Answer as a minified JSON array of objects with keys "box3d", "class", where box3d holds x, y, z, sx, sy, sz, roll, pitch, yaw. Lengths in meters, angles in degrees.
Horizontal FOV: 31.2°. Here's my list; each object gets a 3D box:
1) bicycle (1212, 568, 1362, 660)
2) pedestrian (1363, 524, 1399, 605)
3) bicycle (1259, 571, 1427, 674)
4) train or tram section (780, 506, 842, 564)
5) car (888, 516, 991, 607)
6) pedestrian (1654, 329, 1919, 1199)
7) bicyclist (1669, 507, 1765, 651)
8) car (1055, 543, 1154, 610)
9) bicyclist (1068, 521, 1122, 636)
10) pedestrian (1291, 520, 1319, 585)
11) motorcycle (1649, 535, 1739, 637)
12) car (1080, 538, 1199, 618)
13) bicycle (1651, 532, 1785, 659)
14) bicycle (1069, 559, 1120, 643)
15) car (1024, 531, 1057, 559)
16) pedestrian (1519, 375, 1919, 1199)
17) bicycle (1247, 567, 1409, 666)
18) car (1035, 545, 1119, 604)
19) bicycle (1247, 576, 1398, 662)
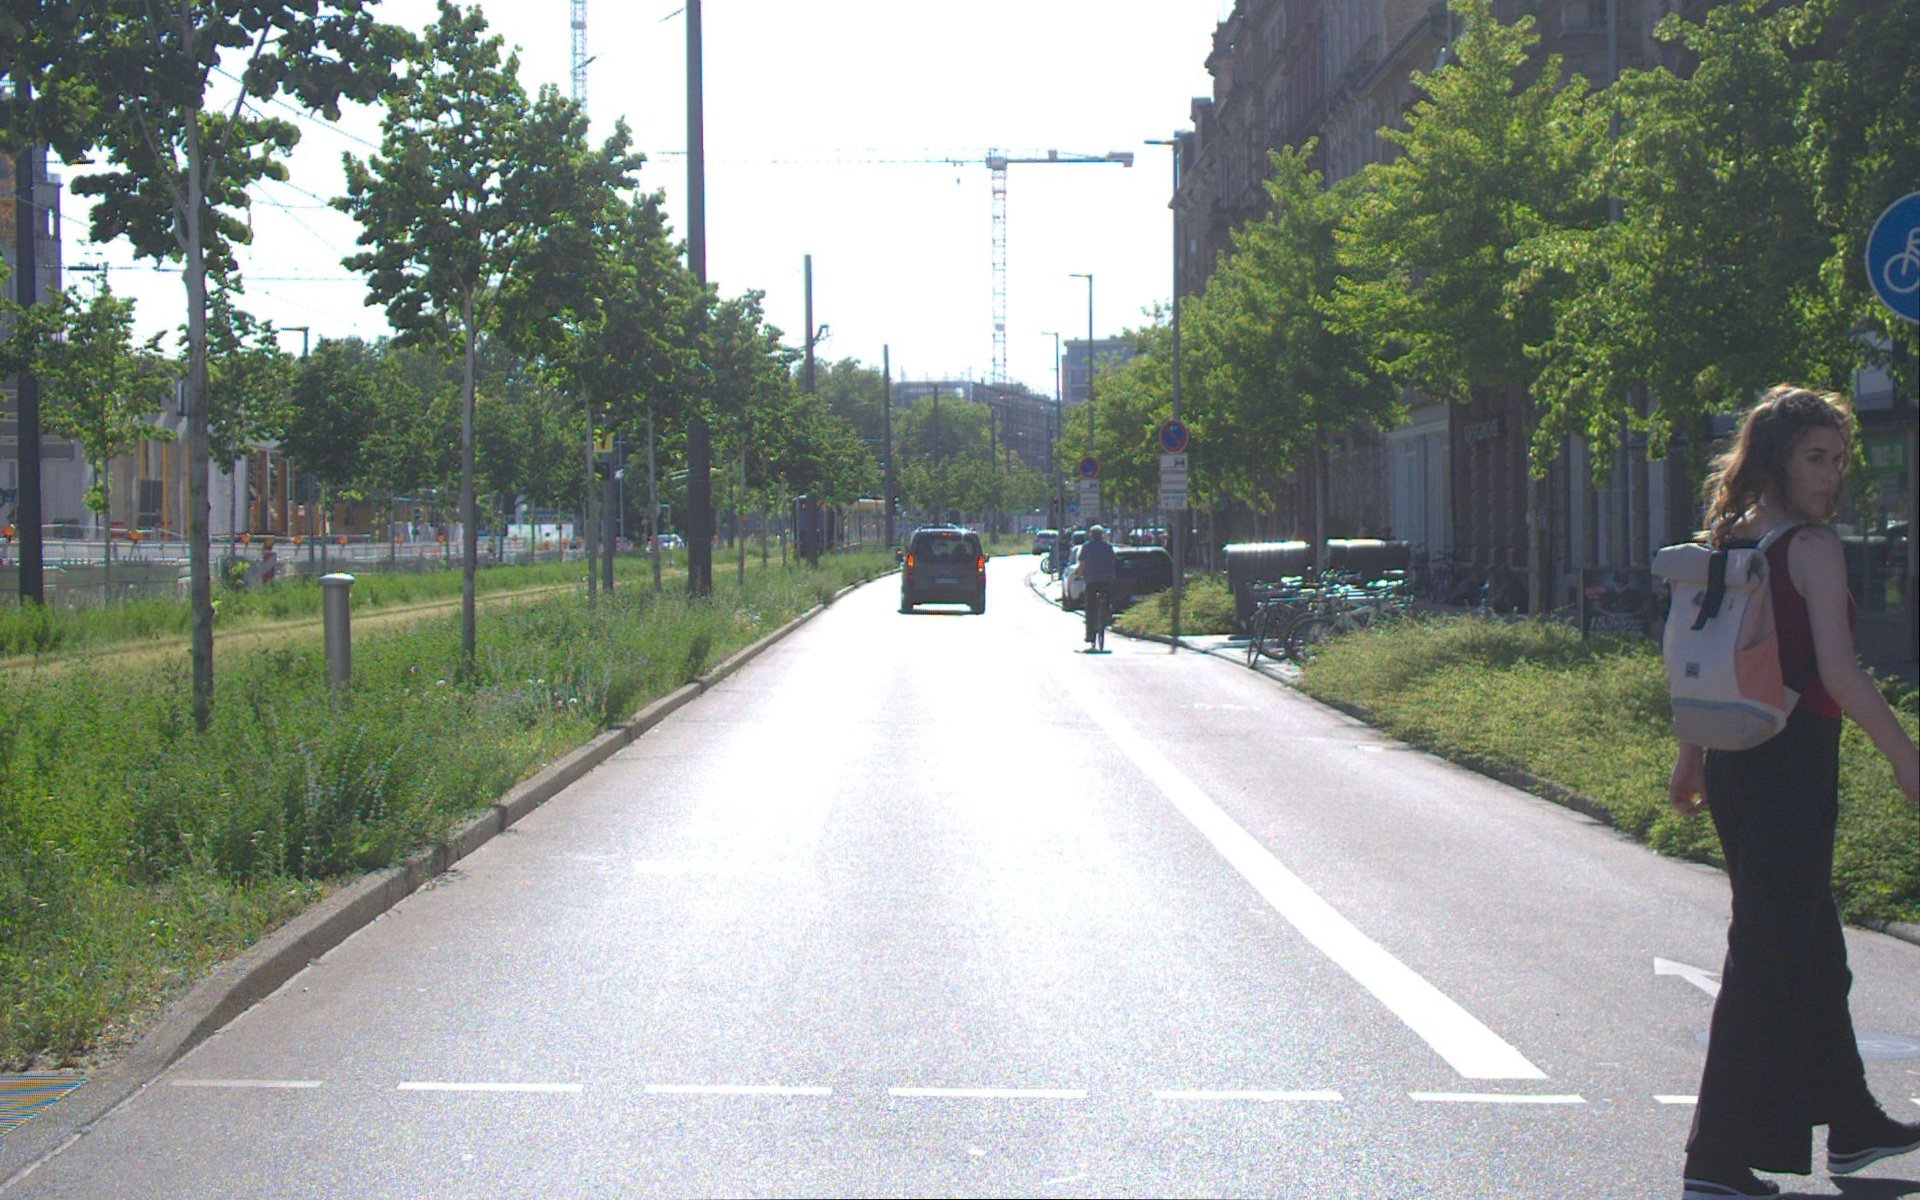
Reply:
[{"box3d":[4.179,0.177,43.970,1.792,1.027,0.527,-5,1,0],"class":"bicycle"},{"box3d":[8.421,-0.713,68.737,0.614,1.606,0.669,-1,1,-1],"class":"pedestrian"},{"box3d":[4.403,0.257,39.565,1.792,1.027,0.527,-5,1,0],"class":"bicycle"},{"box3d":[-7.380,-3.181,171.119,2.756,2.733,9.864,1,0,-1],"class":"train or tram section"},{"box3d":[-0.472,-0.865,75.899,2.200,1.919,4.654,-1,1,-1],"class":"car"},{"box3d":[1.470,0.575,4.423,0.865,1.782,0.971,1,1,-7],"class":"pedestrian"},{"box3d":[8.382,-0.233,38.092,0.660,1.525,0.801,-5,1,-12],"class":"bicyclist"},{"box3d":[3.331,-0.572,79.778,2.028,1.493,4.530,-1,1,-1],"class":"car"},{"box3d":[1.985,-0.323,50.623,0.684,1.667,0.922,2,1,-1],"class":"bicyclist"},{"box3d":[8.643,-1.200,86.089,0.614,1.606,0.669,-1,1,-1],"class":"pedestrian"},{"box3d":[9.418,-0.189,44.161,0.700,1.263,1.982,-1,1,-1],"class":"motorcycle"},{"box3d":[3.481,-0.453,67.433,2.028,1.493,4.654,-1,1,-1],"class":"car"},{"box3d":[8.390,-0.051,38.147,0.615,1.326,1.900,-5,1,-12],"class":"bicycle"},{"box3d":[1.964,-0.001,50.483,0.601,1.177,1.869,2,1,-1],"class":"bicycle"},{"box3d":[5.235,-3.576,223.260,1.993,1.723,4.000,1,0,-1],"class":"car"},{"box3d":[1.933,0.438,8.076,1.075,1.902,0.653,-1,1,-7],"class":"pedestrian"},{"box3d":[4.378,0.188,40.938,1.792,1.027,0.527,-5,1,0],"class":"bicycle"},{"box3d":[3.123,-0.704,92.306,2.028,1.493,4.530,-1,1,-1],"class":"car"},{"box3d":[4.481,0.231,42.547,1.792,1.027,0.527,-1,1,0],"class":"bicycle"}]
